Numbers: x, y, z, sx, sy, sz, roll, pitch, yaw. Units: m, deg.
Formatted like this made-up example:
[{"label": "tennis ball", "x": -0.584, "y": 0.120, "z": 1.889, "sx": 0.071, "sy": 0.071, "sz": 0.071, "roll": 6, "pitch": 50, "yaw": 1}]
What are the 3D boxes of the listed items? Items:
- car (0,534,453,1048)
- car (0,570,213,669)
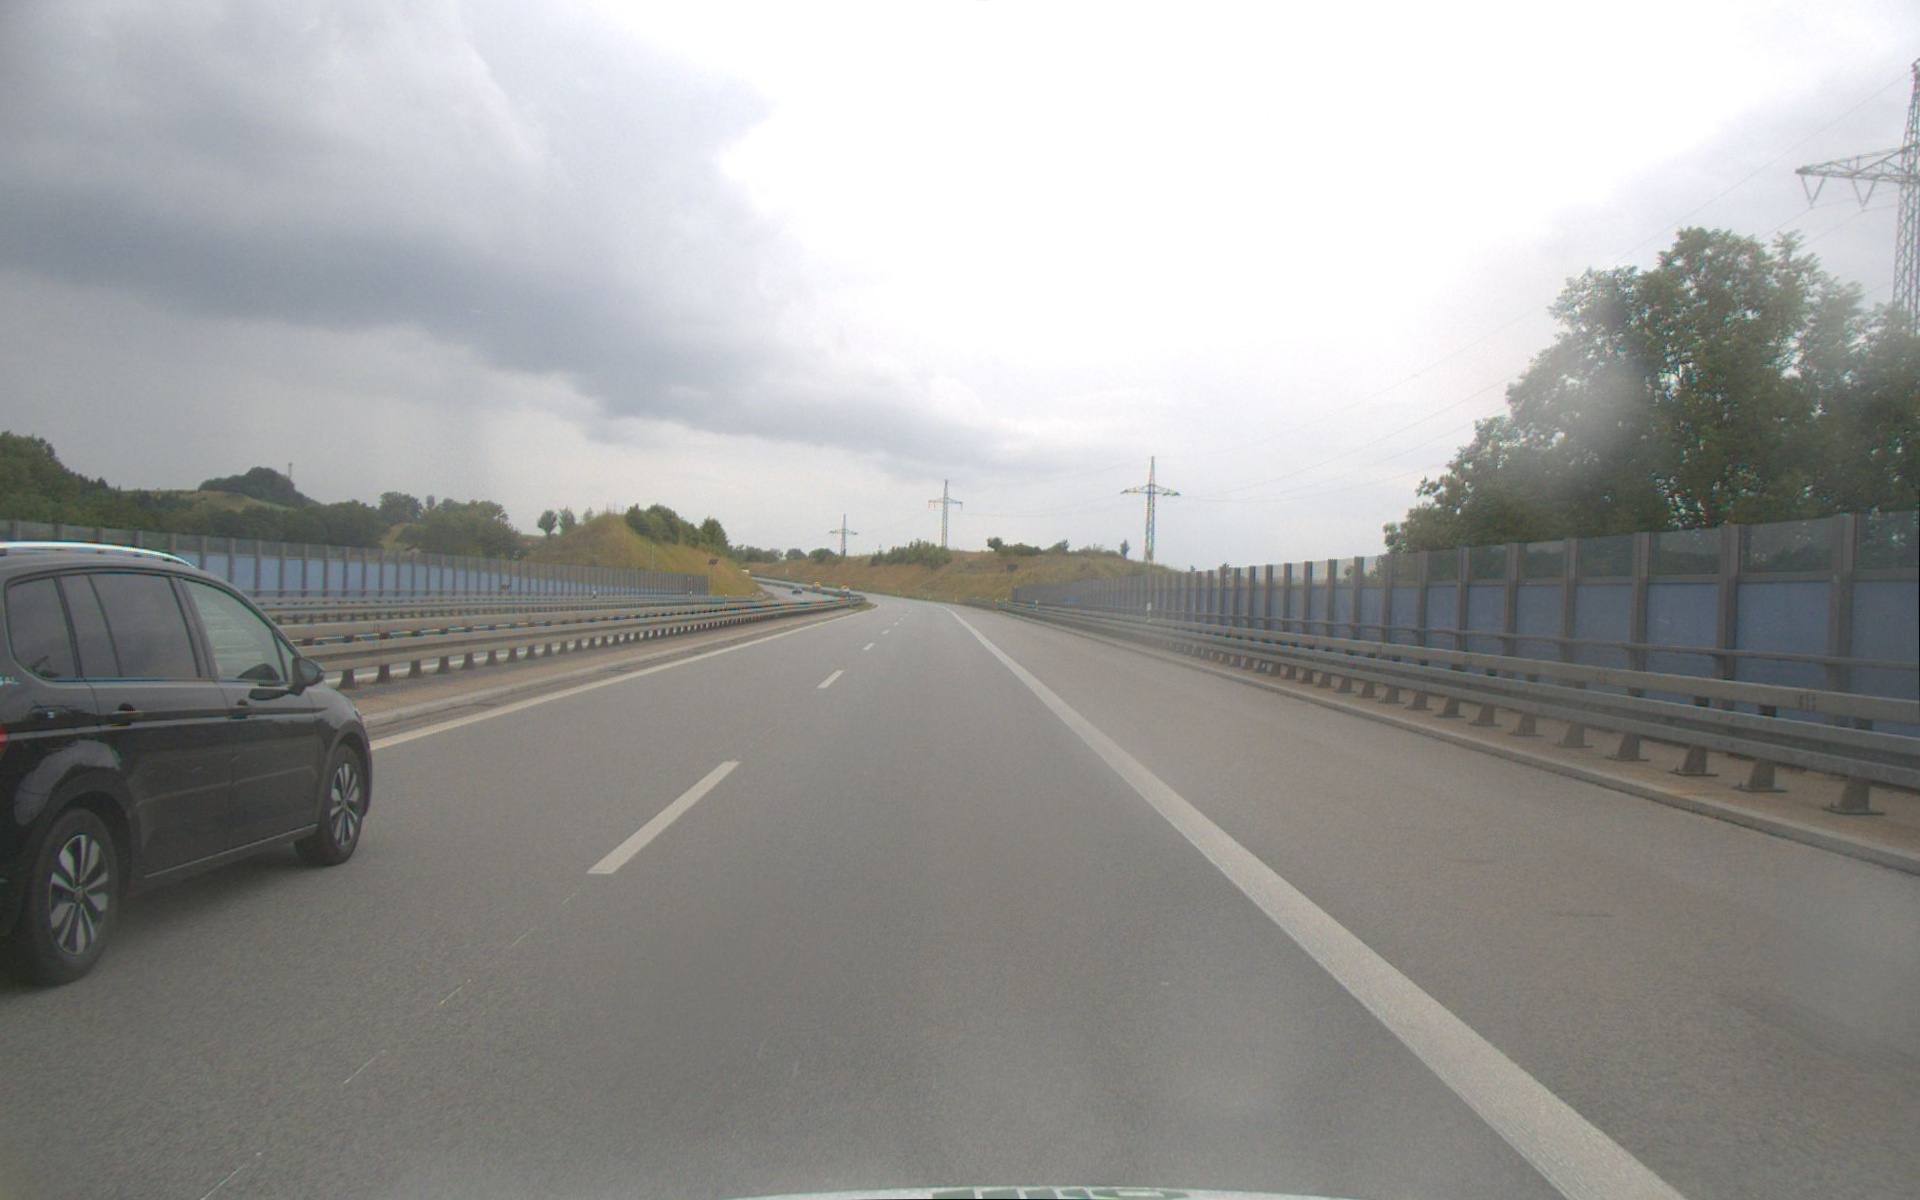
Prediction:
[{"label": "car", "x": -4.132, "y": 0.603, "z": 7.829, "sx": 1.858, "sy": 1.700, "sz": 5.395, "roll": 1, "pitch": 0, "yaw": -1}, {"label": "car", "x": -14.800, "y": 0.290, "z": 28.466, "sx": 1.953, "sy": 1.541, "sz": 4.287, "roll": 1, "pitch": 0, "yaw": -1}]
